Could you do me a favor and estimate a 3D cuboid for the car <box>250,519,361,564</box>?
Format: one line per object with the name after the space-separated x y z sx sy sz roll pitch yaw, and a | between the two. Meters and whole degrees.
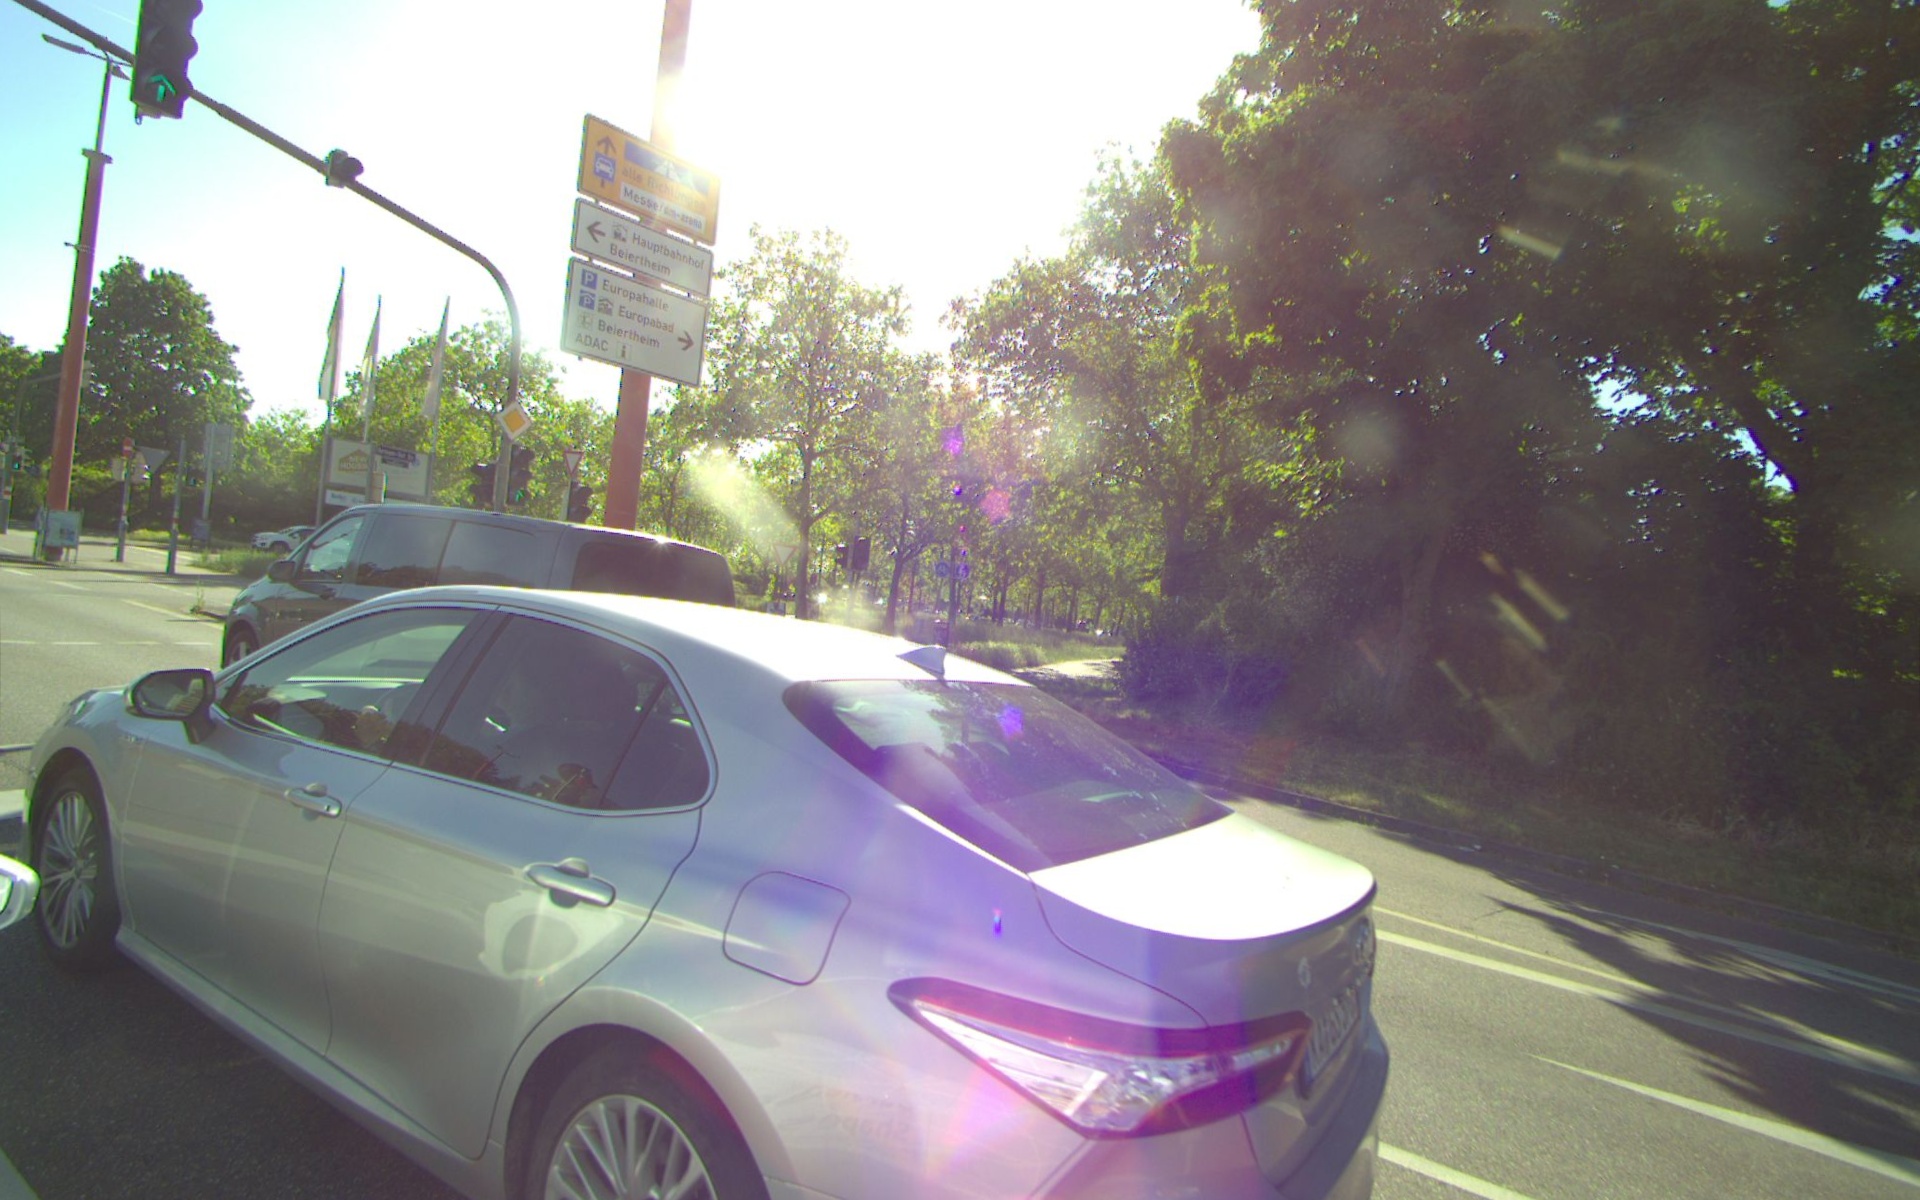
-33.178 -2.935 51.065 1.743 1.655 4.284 7 -1 37 | car

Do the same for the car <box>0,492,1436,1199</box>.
-1.198 0.672 3.214 4.606 1.510 1.807 7 -2 33 | car

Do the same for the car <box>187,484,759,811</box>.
-4.243 0.210 8.421 5.019 1.875 1.806 7 0 32 | car
